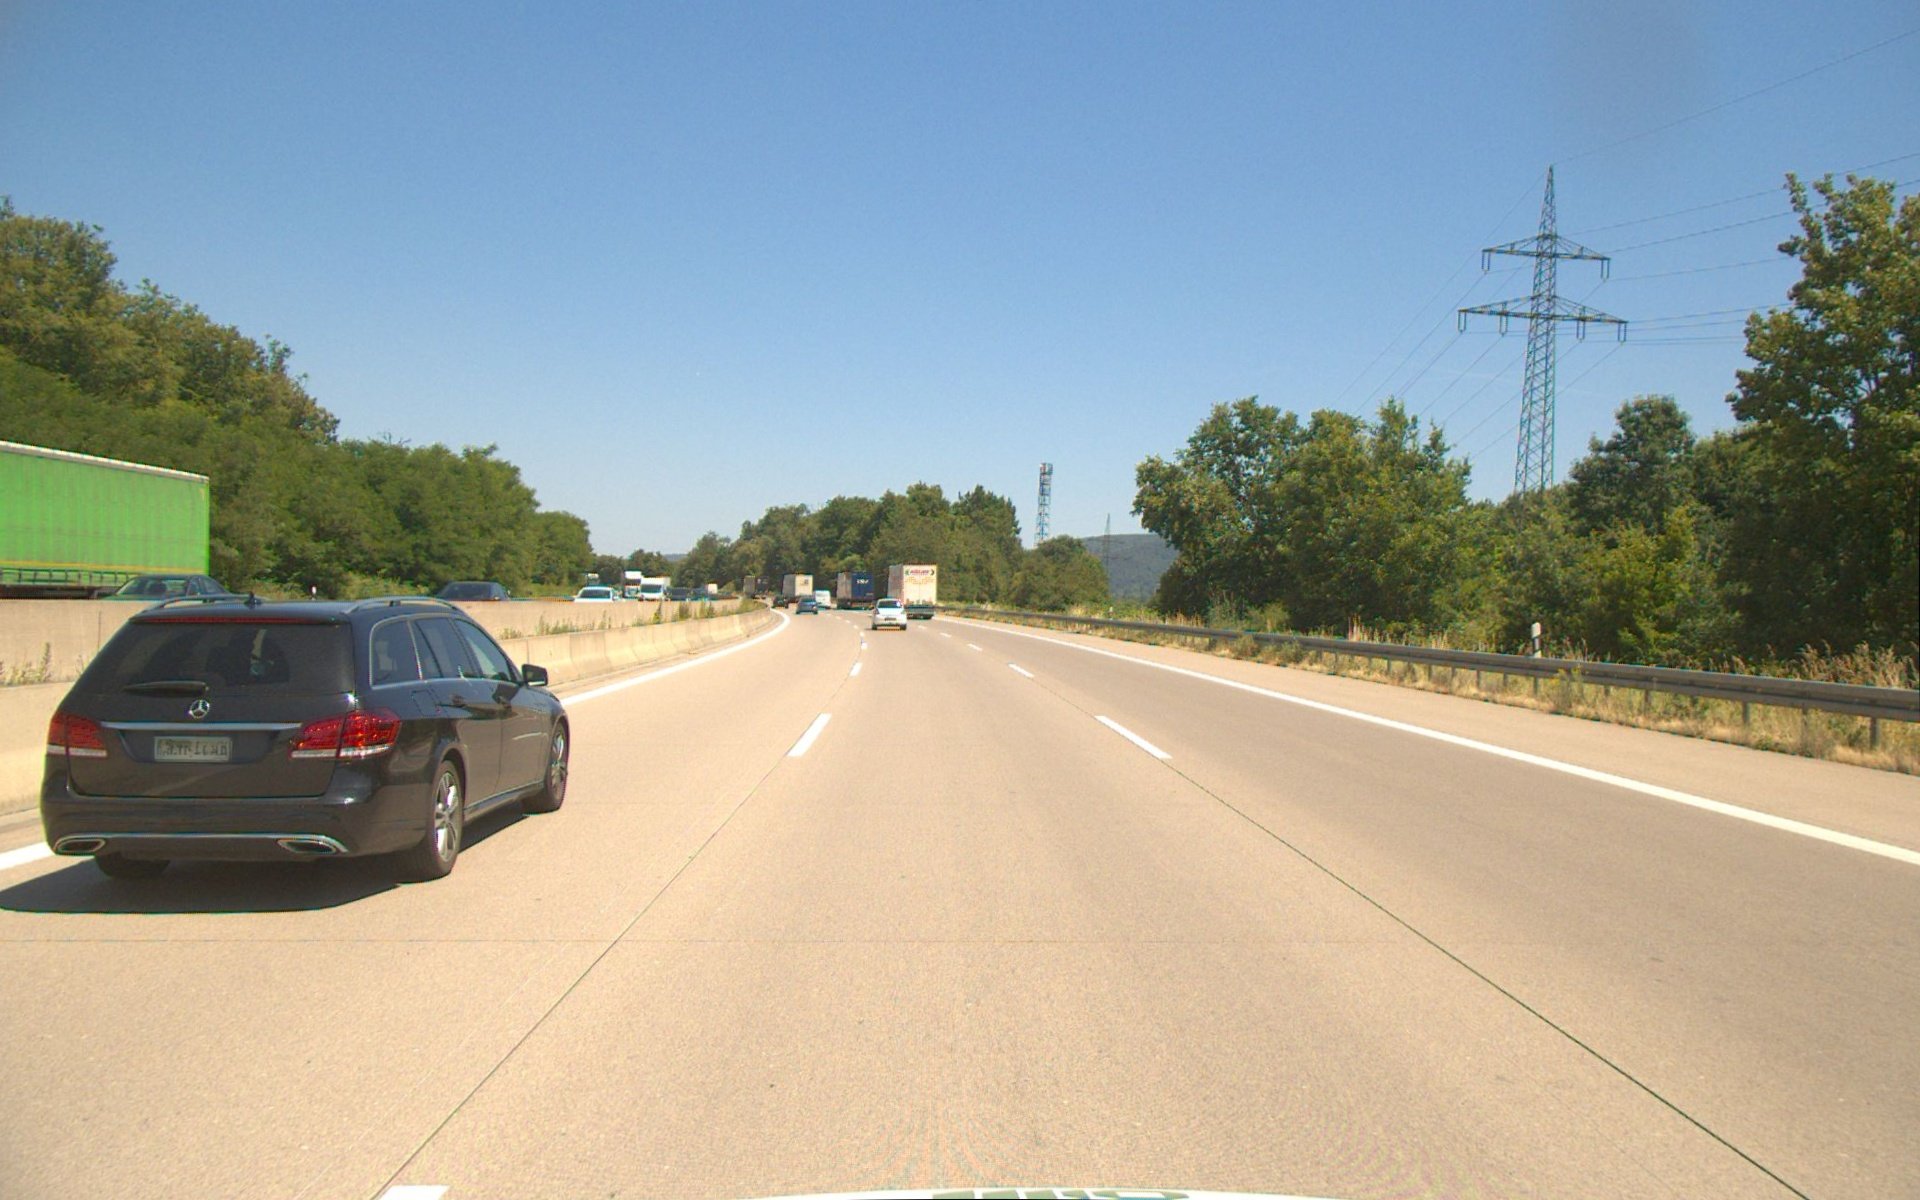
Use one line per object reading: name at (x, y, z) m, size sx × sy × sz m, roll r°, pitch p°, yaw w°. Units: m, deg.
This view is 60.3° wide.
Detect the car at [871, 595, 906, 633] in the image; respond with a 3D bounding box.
car at (-3.612, 0.663, 82.953) m, size 1.609 × 1.690 × 3.358 m, roll 5°, pitch 1°, yaw -3°

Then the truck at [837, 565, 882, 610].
truck at (-11.375, -1.341, 185.407) m, size 3.834 × 4.824 × 14.023 m, roll 0°, pitch 0°, yaw -8°

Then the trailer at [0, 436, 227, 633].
trailer at (-21.003, -1.349, 38.271) m, size 2.628 × 4.004 × 13.240 m, roll 0°, pitch 0°, yaw -2°

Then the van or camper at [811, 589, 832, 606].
van or camper at (-15.113, -0.261, 180.721) m, size 1.834 × 1.870 × 3.989 m, roll 0°, pitch 0°, yaw -11°

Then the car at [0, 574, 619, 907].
car at (-3.607, 0.625, 10.331) m, size 1.852 × 1.499 × 5.602 m, roll 1°, pitch 0°, yaw -1°

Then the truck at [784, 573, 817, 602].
truck at (-23.853, -1.820, 247.130) m, size 3.826 × 4.053 × 13.587 m, roll 0°, pitch 0°, yaw -10°

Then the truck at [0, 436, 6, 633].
truck at (-20.702, -1.331, 30.771) m, size 2.611 × 4.004 × 5.966 m, roll 0°, pitch 0°, yaw -2°

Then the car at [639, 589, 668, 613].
car at (-25.363, 0.071, 136.932) m, size 1.900 × 1.994 × 3.997 m, roll 0°, pitch 0°, yaw -4°

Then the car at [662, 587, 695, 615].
car at (-19.672, 0.081, 115.714) m, size 1.825 × 1.882 × 3.998 m, roll 0°, pitch 0°, yaw -2°

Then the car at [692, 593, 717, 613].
car at (-22.187, 0.256, 143.675) m, size 1.955 × 1.644 × 3.994 m, roll 0°, pitch 0°, yaw -7°

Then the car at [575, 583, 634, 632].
car at (-15.289, 0.316, 71.249) m, size 1.825 × 2.049 × 3.998 m, roll 0°, pitch 0°, yaw -2°

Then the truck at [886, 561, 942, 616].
truck at (-3.620, -0.865, 126.883) m, size 3.744 × 3.957 × 14.141 m, roll 0°, pitch 0°, yaw -4°

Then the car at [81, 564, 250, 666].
car at (-16.959, 0.307, 35.515) m, size 1.825 × 2.049 × 3.998 m, roll 0°, pitch 0°, yaw -2°

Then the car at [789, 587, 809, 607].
car at (-14.133, -0.252, 144.883) m, size 1.580 × 1.755 × 3.567 m, roll 0°, pitch 0°, yaw -8°

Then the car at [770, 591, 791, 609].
car at (-20.348, -0.041, 187.232) m, size 1.986 × 1.729 × 3.992 m, roll 6°, pitch 0°, yaw -10°
